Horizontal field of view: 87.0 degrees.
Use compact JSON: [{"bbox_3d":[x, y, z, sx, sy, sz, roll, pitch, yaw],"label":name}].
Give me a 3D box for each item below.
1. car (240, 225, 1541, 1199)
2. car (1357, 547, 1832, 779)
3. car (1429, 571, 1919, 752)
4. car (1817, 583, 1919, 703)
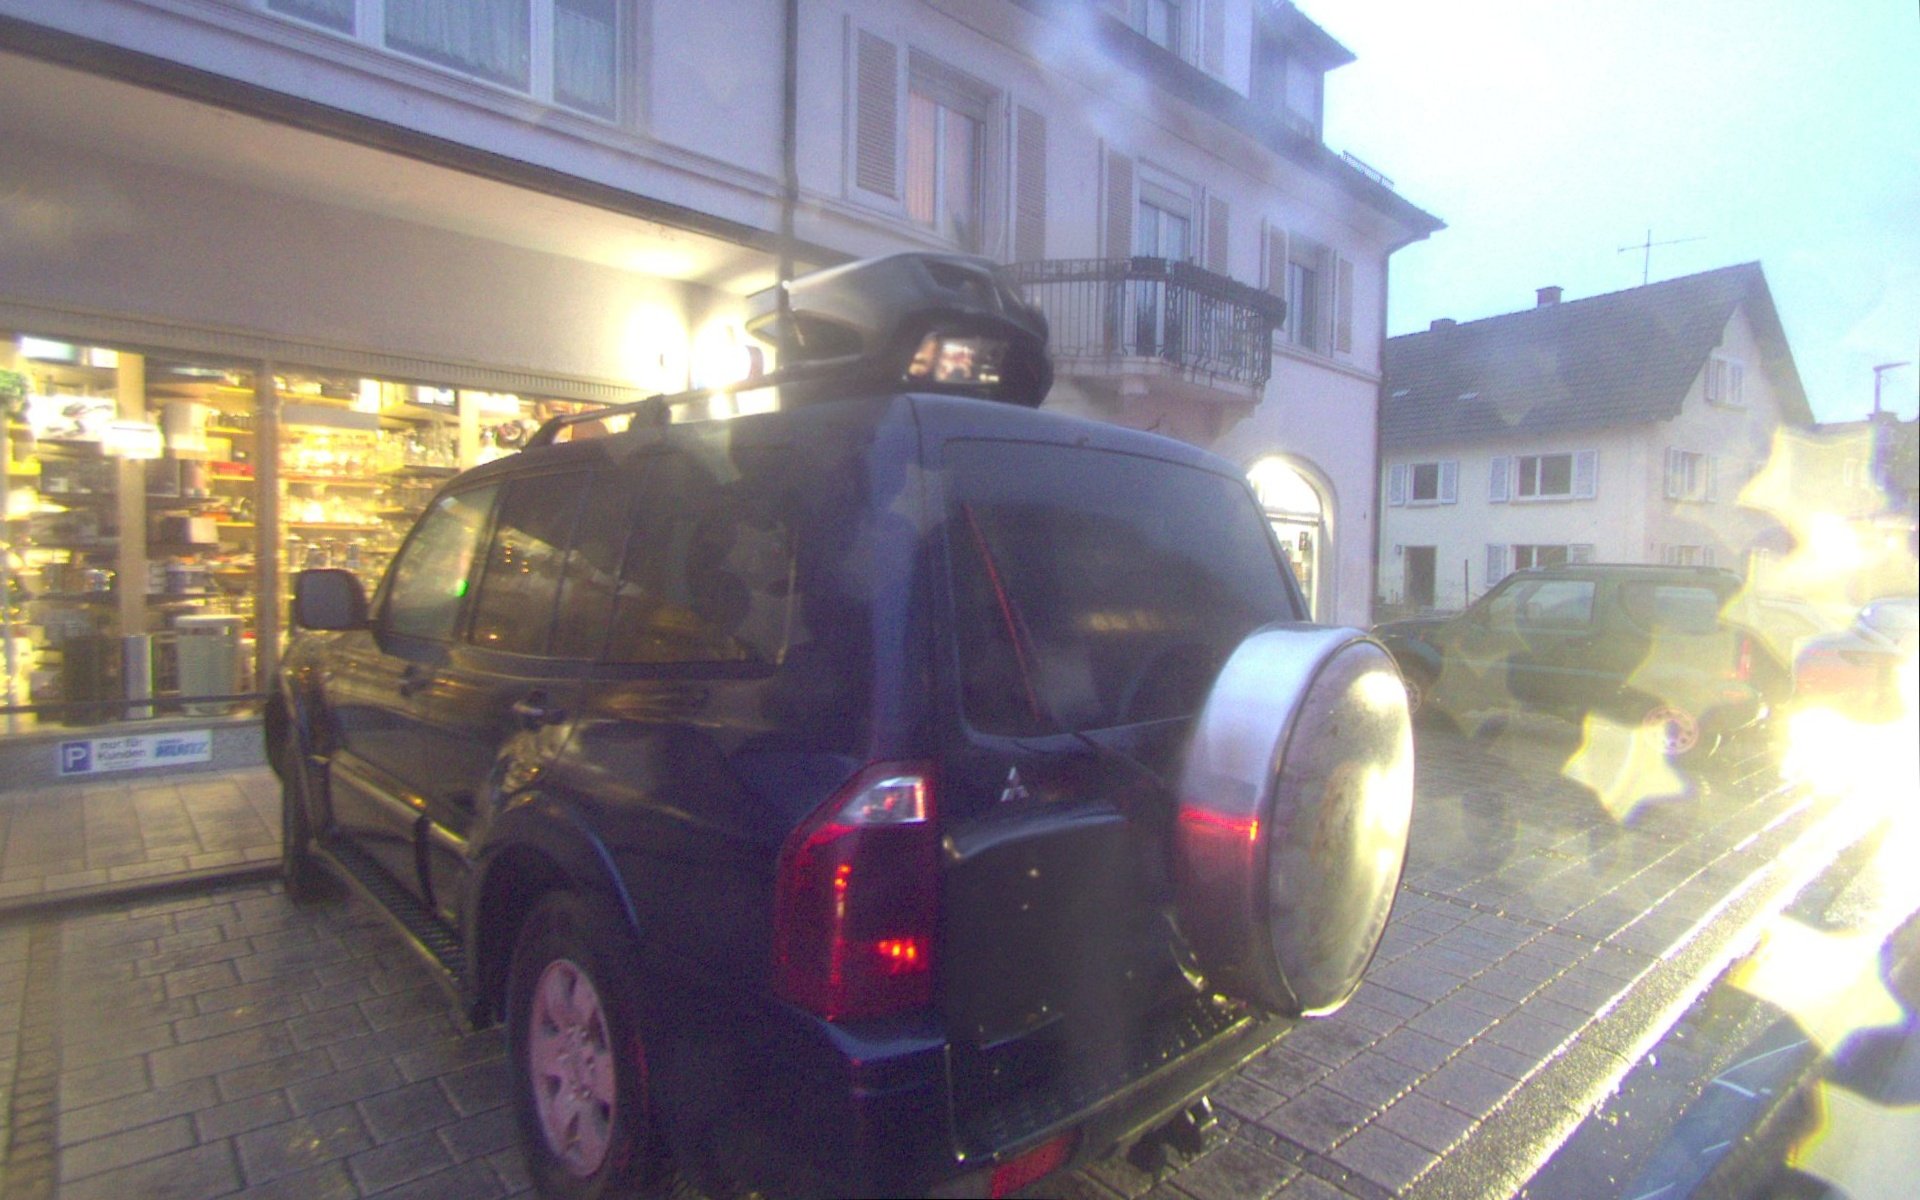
[{"bbox_3d":[-0.877,0.378,3.478,1.913,1.797,4.608,1,2,-44],"label":"car"},{"bbox_3d":[5.930,0.428,9.703,1.688,1.701,3.507,0,4,-45],"label":"car"},{"bbox_3d":[8.051,0.517,11.559,1.865,1.491,4.476,1,3,-41],"label":"car"},{"bbox_3d":[14.694,0.613,15.176,4.586,1.566,1.888,1,3,-38],"label":"car"}]
